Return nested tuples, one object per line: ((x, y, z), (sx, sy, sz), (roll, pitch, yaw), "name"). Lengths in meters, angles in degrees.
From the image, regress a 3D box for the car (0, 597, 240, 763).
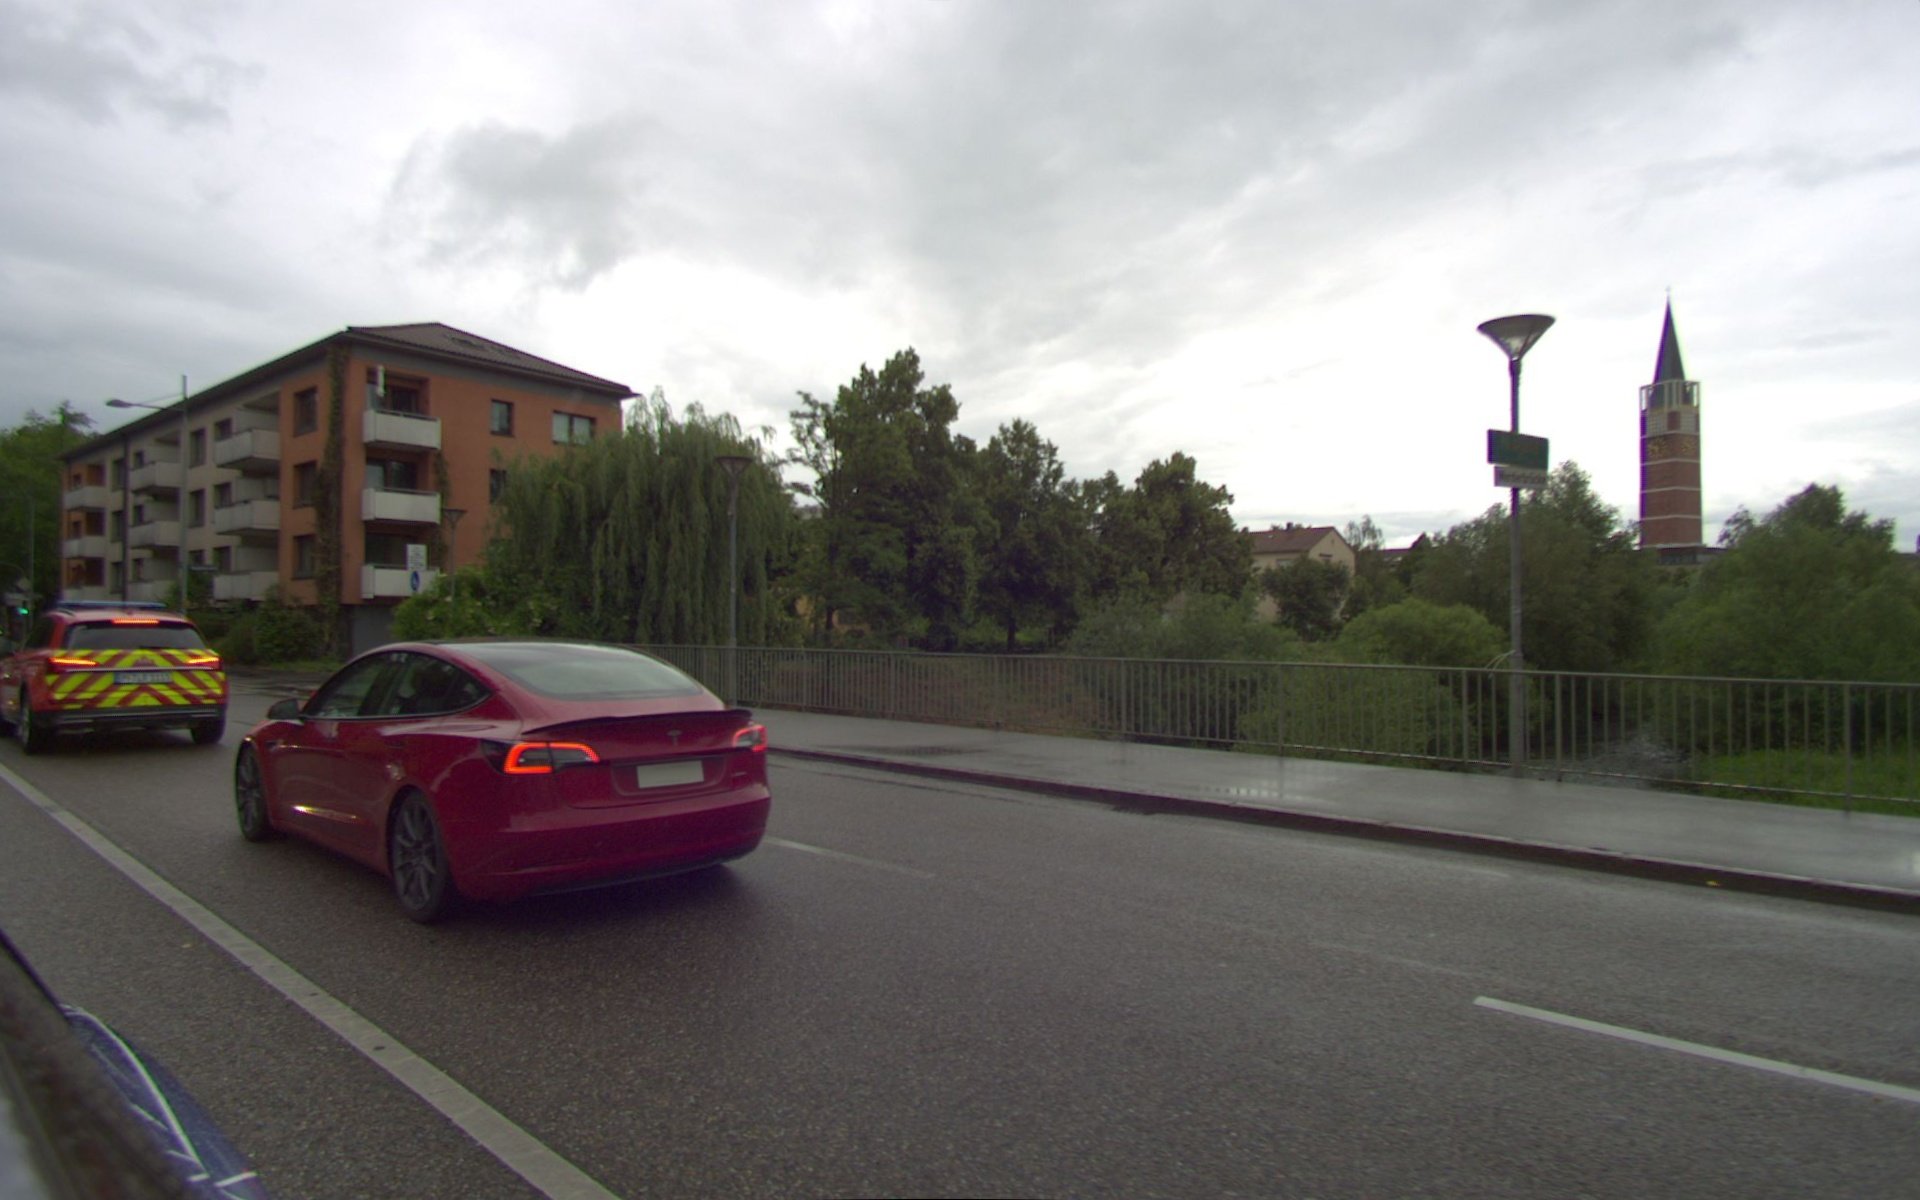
((-10.847, 0.914, 12.787), (4.369, 1.748, 1.869), (-1, -3, 41), "car")

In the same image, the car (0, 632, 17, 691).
((-25.682, 1.550, 25.986), (3.998, 1.450, 1.727), (-1, -3, 41), "car")

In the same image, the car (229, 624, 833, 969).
((-2.856, 0.888, 6.246), (4.216, 1.413, 1.763), (-2, -3, 41), "car")
